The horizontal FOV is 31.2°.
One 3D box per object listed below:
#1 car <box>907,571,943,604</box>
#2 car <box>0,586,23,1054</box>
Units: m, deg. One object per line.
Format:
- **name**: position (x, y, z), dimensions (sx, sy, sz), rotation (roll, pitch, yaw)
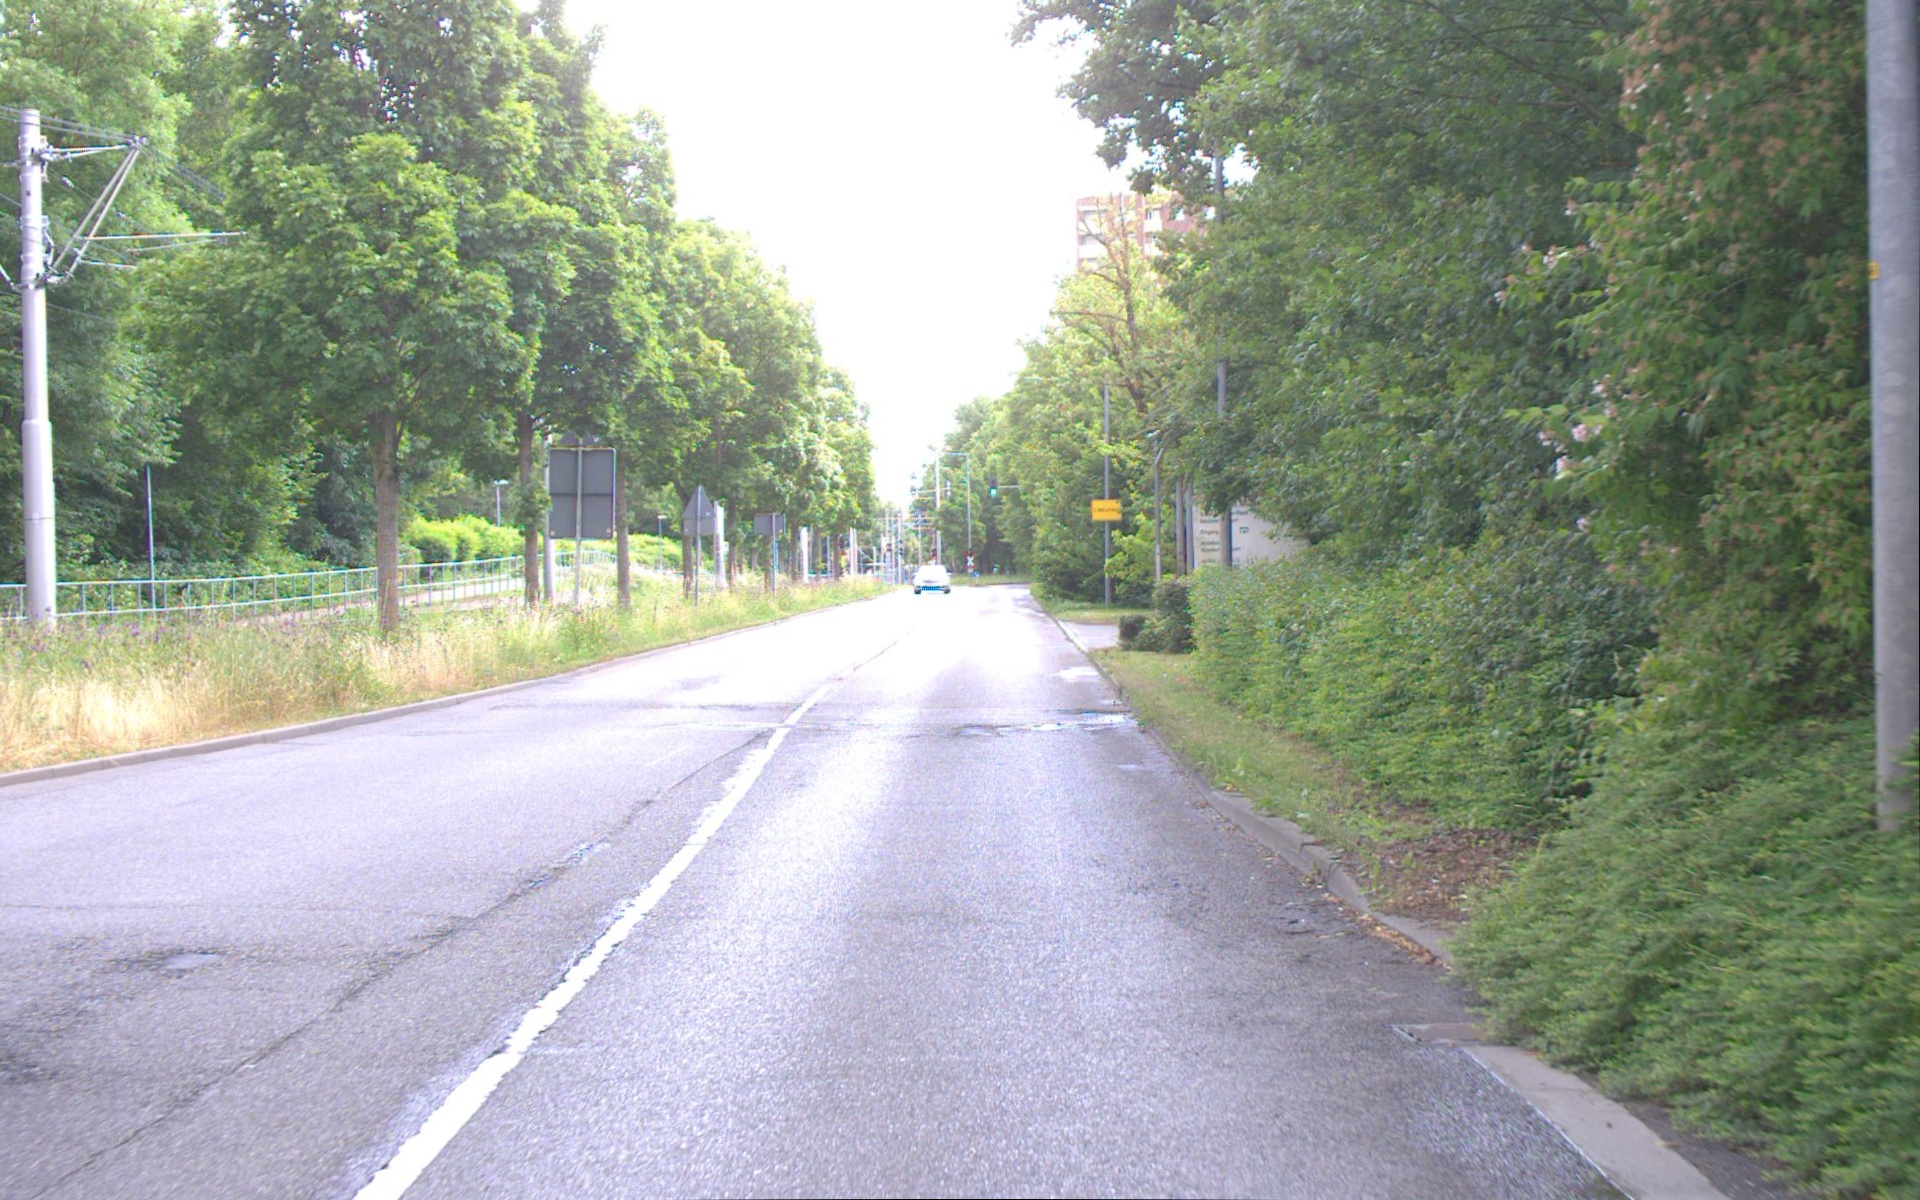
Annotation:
- **car**: position (-1.790, -0.655, 177.694), dimensions (1.716, 1.624, 4.000), rotation (-2, 1, 1)
- **car**: position (-3.793, 0.700, 8.545), dimensions (1.755, 1.430, 4.429), rotation (0, 1, -1)
